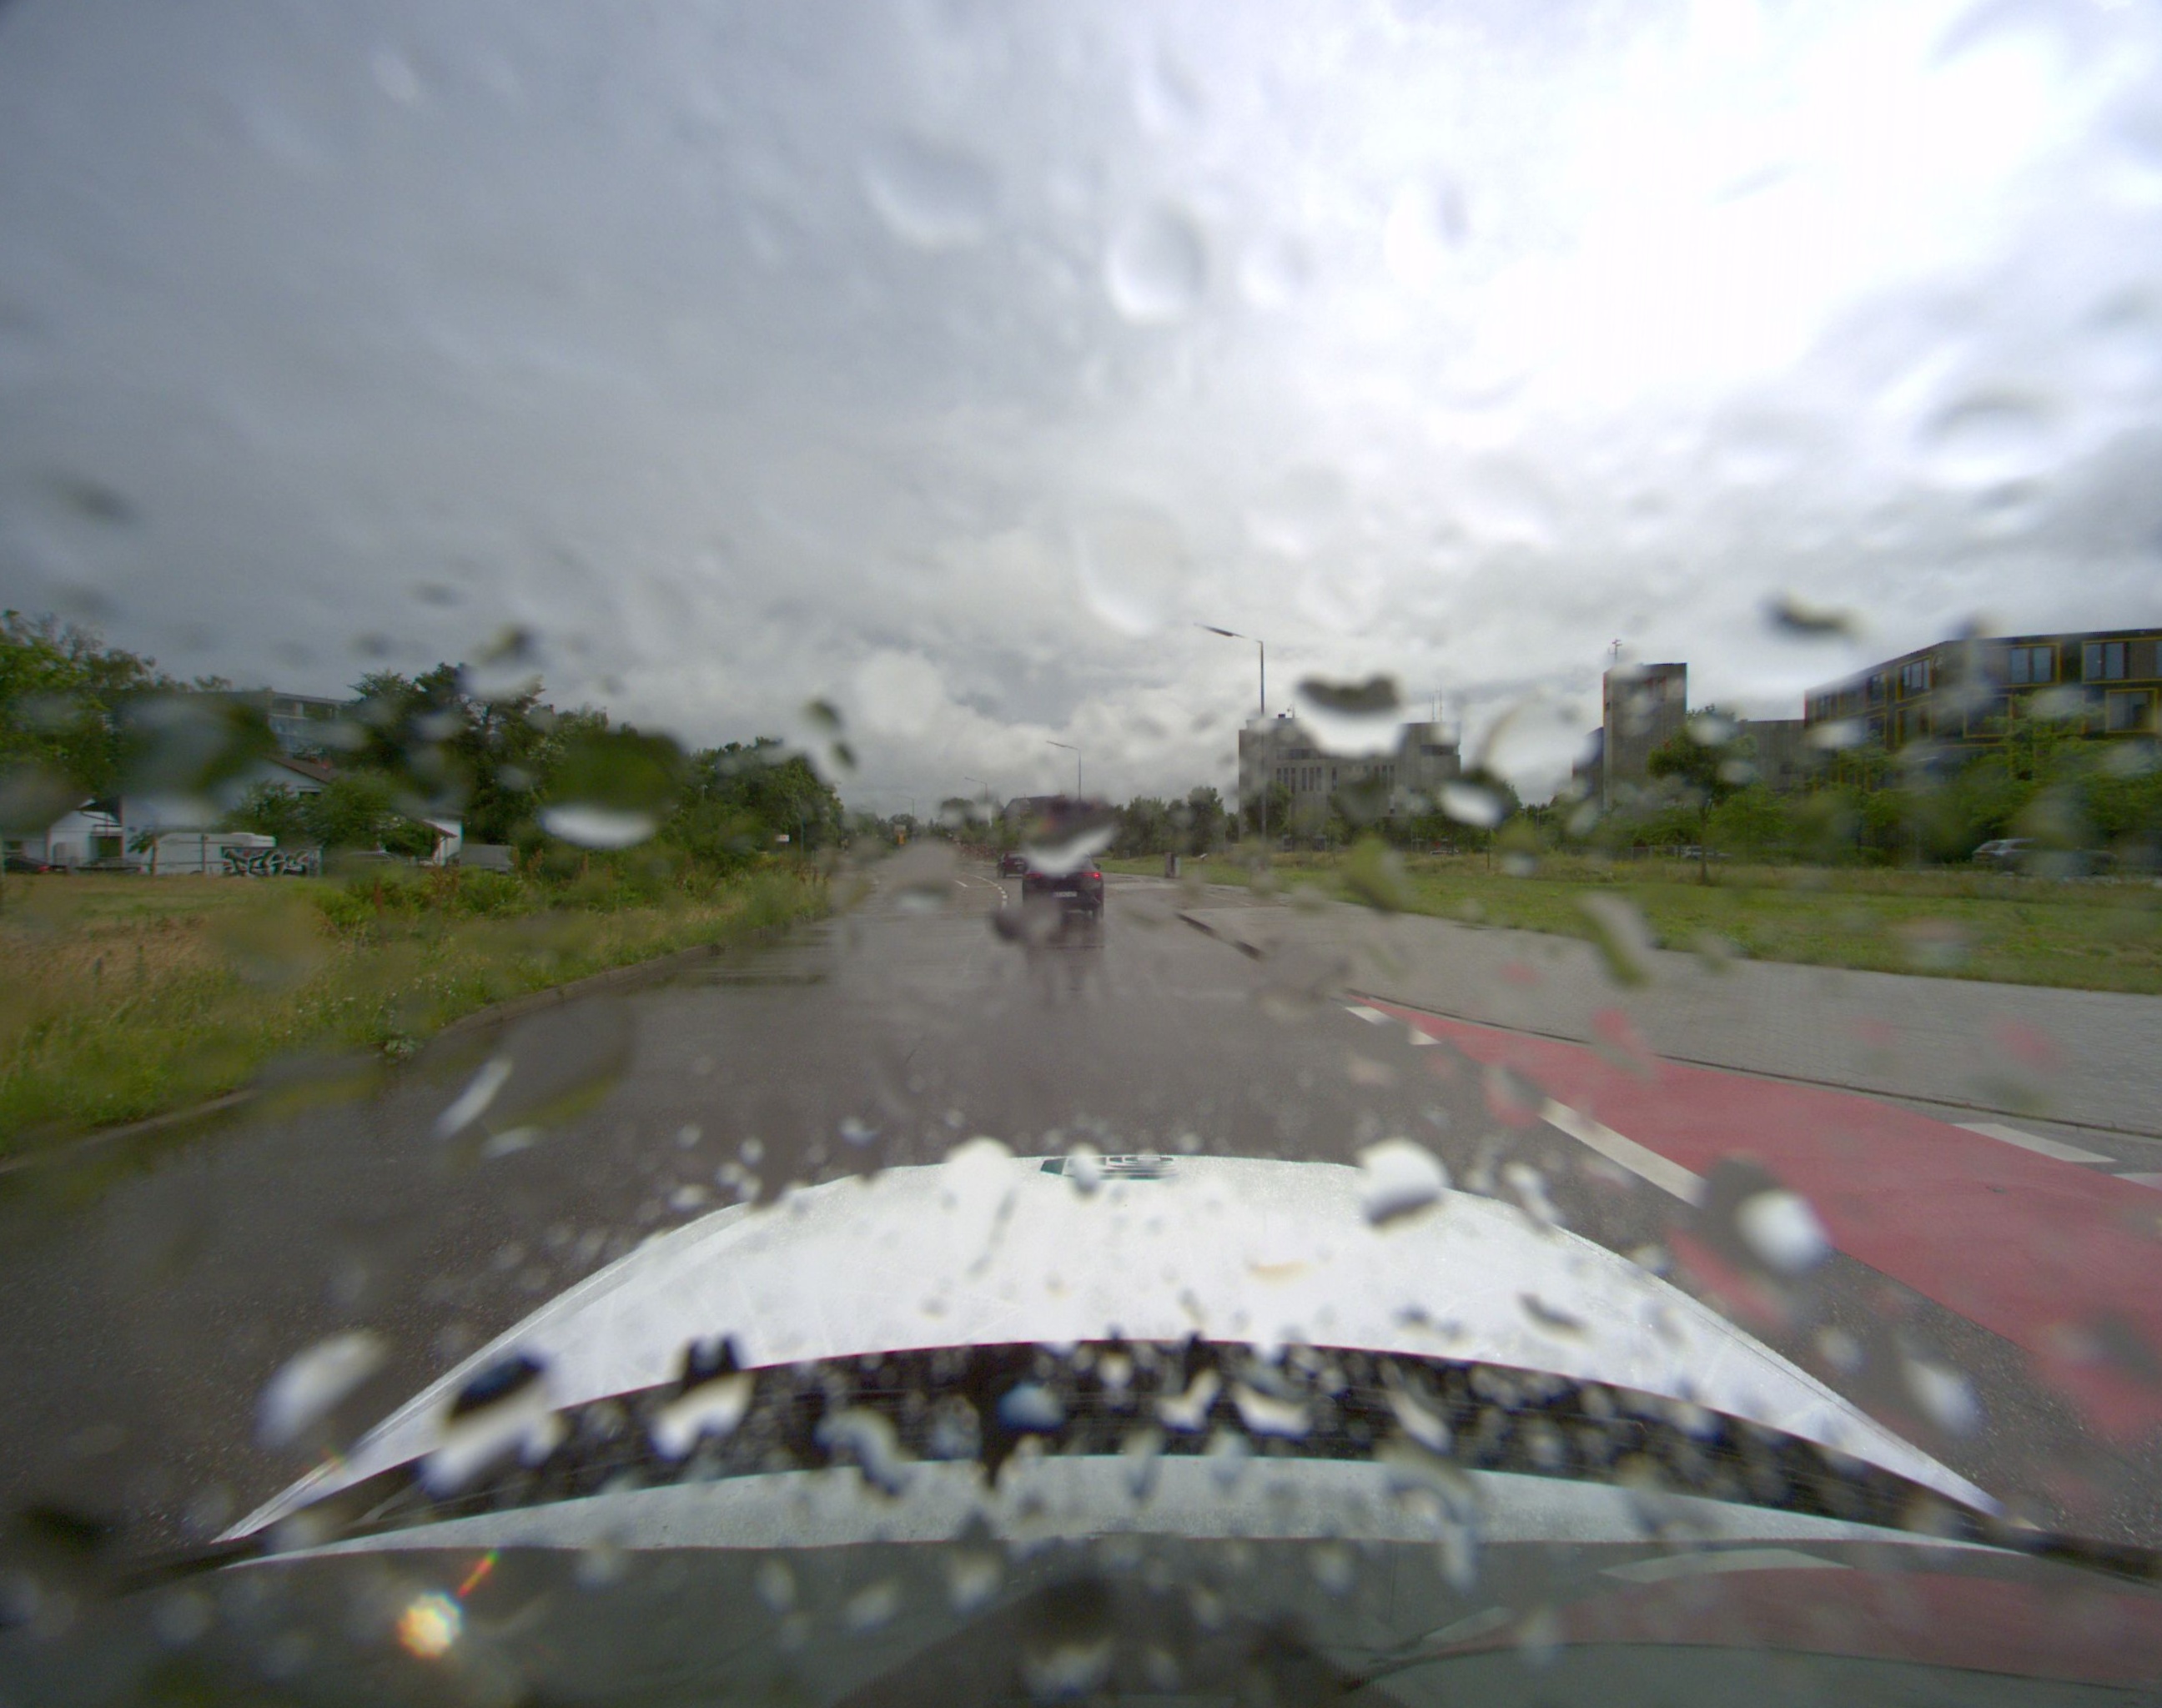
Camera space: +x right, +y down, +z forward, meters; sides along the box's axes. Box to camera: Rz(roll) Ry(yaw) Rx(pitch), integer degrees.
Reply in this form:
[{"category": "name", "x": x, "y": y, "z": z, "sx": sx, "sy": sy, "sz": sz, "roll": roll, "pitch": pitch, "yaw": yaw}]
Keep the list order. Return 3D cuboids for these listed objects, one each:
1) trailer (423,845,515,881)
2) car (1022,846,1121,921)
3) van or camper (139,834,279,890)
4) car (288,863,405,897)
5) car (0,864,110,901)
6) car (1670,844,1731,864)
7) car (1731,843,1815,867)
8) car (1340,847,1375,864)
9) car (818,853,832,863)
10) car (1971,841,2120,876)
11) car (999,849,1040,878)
[{"category": "trailer", "x": -36.935, "y": 0.528, "z": 49.274, "sx": 4.119, "sy": 2.089, "sz": 1.830, "roll": 1, "pitch": -1, "yaw": -24}, {"category": "car", "x": -0.347, "y": 0.592, "z": 19.054, "sx": 1.984, "sy": 1.520, "sz": 3.993, "roll": -1, "pitch": 1, "yaw": -5}, {"category": "van or camper", "x": -47.245, "y": 0.396, "z": 44.265, "sx": 4.518, "sy": 2.945, "sz": 2.466, "roll": 0, "pitch": 0, "yaw": -22}, {"category": "car", "x": -41.682, "y": 1.429, "z": 46.351, "sx": 4.521, "sy": 1.775, "sz": 1.986, "roll": 0, "pitch": 0, "yaw": -22}, {"category": "car", "x": -52.791, "y": 1.413, "z": 41.043, "sx": 4.521, "sy": 1.775, "sz": 1.986, "roll": 0, "pitch": 0, "yaw": -22}, {"category": "car", "x": 54.655, "y": 0.029, "z": 71.939, "sx": 3.953, "sy": 1.720, "sz": 1.778, "roll": 0, "pitch": 0, "yaw": 21}, {"category": "car", "x": 52.509, "y": 0.065, "z": 61.903, "sx": 4.504, "sy": 1.762, "sz": 2.010, "roll": 0, "pitch": 0, "yaw": 20}, {"category": "car", "x": 32.692, "y": 0.150, "z": 96.367, "sx": 3.662, "sy": 2.014, "sz": 2.012, "roll": 0, "pitch": -1, "yaw": 27}, {"category": "car", "x": -45.100, "y": 0.647, "z": 143.363, "sx": 1.850, "sy": 1.641, "sz": 3.983, "roll": 0, "pitch": 0, "yaw": -25}, {"category": "car", "x": 44.676, "y": 0.218, "z": 37.826, "sx": 4.169, "sy": 1.557, "sz": 1.675, "roll": -1, "pitch": 0, "yaw": 20}, {"category": "car", "x": -3.453, "y": 0.515, "z": 44.903, "sx": 1.841, "sy": 1.442, "sz": 3.987, "roll": -3, "pitch": 0, "yaw": -10}]
